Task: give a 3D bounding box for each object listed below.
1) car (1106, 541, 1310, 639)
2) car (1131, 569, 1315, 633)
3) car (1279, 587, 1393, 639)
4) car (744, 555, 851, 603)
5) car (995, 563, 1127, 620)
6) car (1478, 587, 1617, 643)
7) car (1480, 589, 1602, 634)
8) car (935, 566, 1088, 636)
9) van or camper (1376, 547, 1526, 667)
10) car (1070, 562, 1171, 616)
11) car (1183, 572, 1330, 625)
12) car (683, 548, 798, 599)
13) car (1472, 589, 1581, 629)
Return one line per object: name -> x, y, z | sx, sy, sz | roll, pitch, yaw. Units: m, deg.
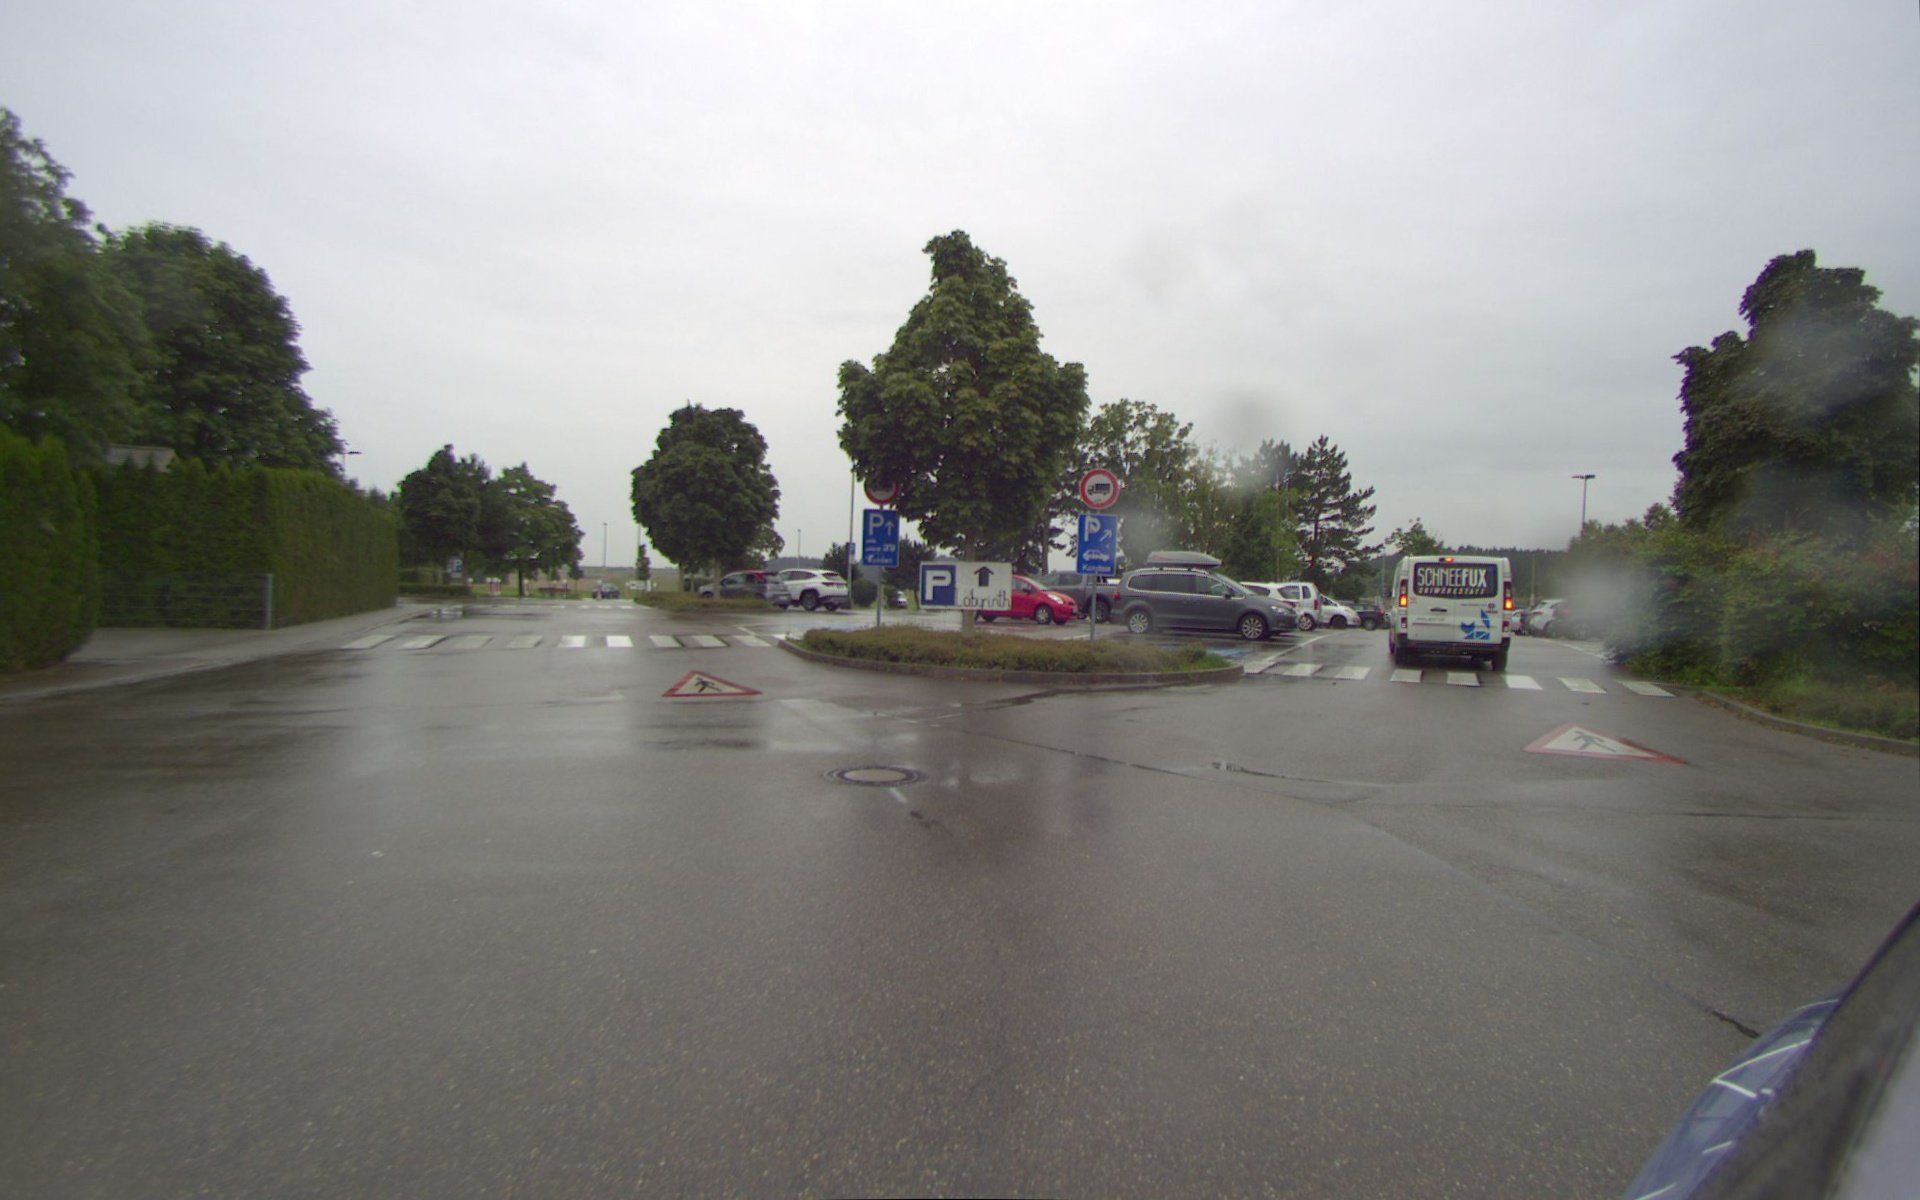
car -> 6.372, -0.316, 26.058 | 4.724, 2.215, 1.981 | 3, 2, 27
car -> 7.388, -0.030, 28.551 | 4.724, 1.490, 1.868 | 3, 3, 27
car -> 17.437, 0.561, 47.006 | 4.724, 2.106, 1.981 | 3, 2, 27
car -> -6.480, -0.847, 40.285 | 4.013, 1.713, 1.696 | 3, 3, 29
car -> 3.642, -0.339, 36.559 | 4.354, 1.800, 1.910 | 3, 2, 24
car -> 20.543, 0.478, 35.609 | 4.056, 1.648, 1.770 | 3, 3, 27
car -> 23.048, 0.414, 40.337 | 4.056, 1.515, 1.750 | 3, 3, 27
car -> 1.604, -0.038, 31.640 | 4.354, 1.908, 1.910 | 3, 2, 24
van or camper -> 9.326, 0.026, 19.650 | 2.169, 1.969, 5.161 | 2, 2, 22
car -> 6.572, -0.487, 41.519 | 3.744, 2.038, 1.773 | 3, 2, 23
car -> 10.565, -0.096, 36.075 | 4.724, 1.606, 1.981 | 3, 3, 27
car -> -8.256, -1.009, 38.016 | 4.013, 1.713, 1.782 | 3, 3, 29
car -> 25.030, 0.372, 44.868 | 4.056, 1.515, 1.750 | 3, 3, 27
